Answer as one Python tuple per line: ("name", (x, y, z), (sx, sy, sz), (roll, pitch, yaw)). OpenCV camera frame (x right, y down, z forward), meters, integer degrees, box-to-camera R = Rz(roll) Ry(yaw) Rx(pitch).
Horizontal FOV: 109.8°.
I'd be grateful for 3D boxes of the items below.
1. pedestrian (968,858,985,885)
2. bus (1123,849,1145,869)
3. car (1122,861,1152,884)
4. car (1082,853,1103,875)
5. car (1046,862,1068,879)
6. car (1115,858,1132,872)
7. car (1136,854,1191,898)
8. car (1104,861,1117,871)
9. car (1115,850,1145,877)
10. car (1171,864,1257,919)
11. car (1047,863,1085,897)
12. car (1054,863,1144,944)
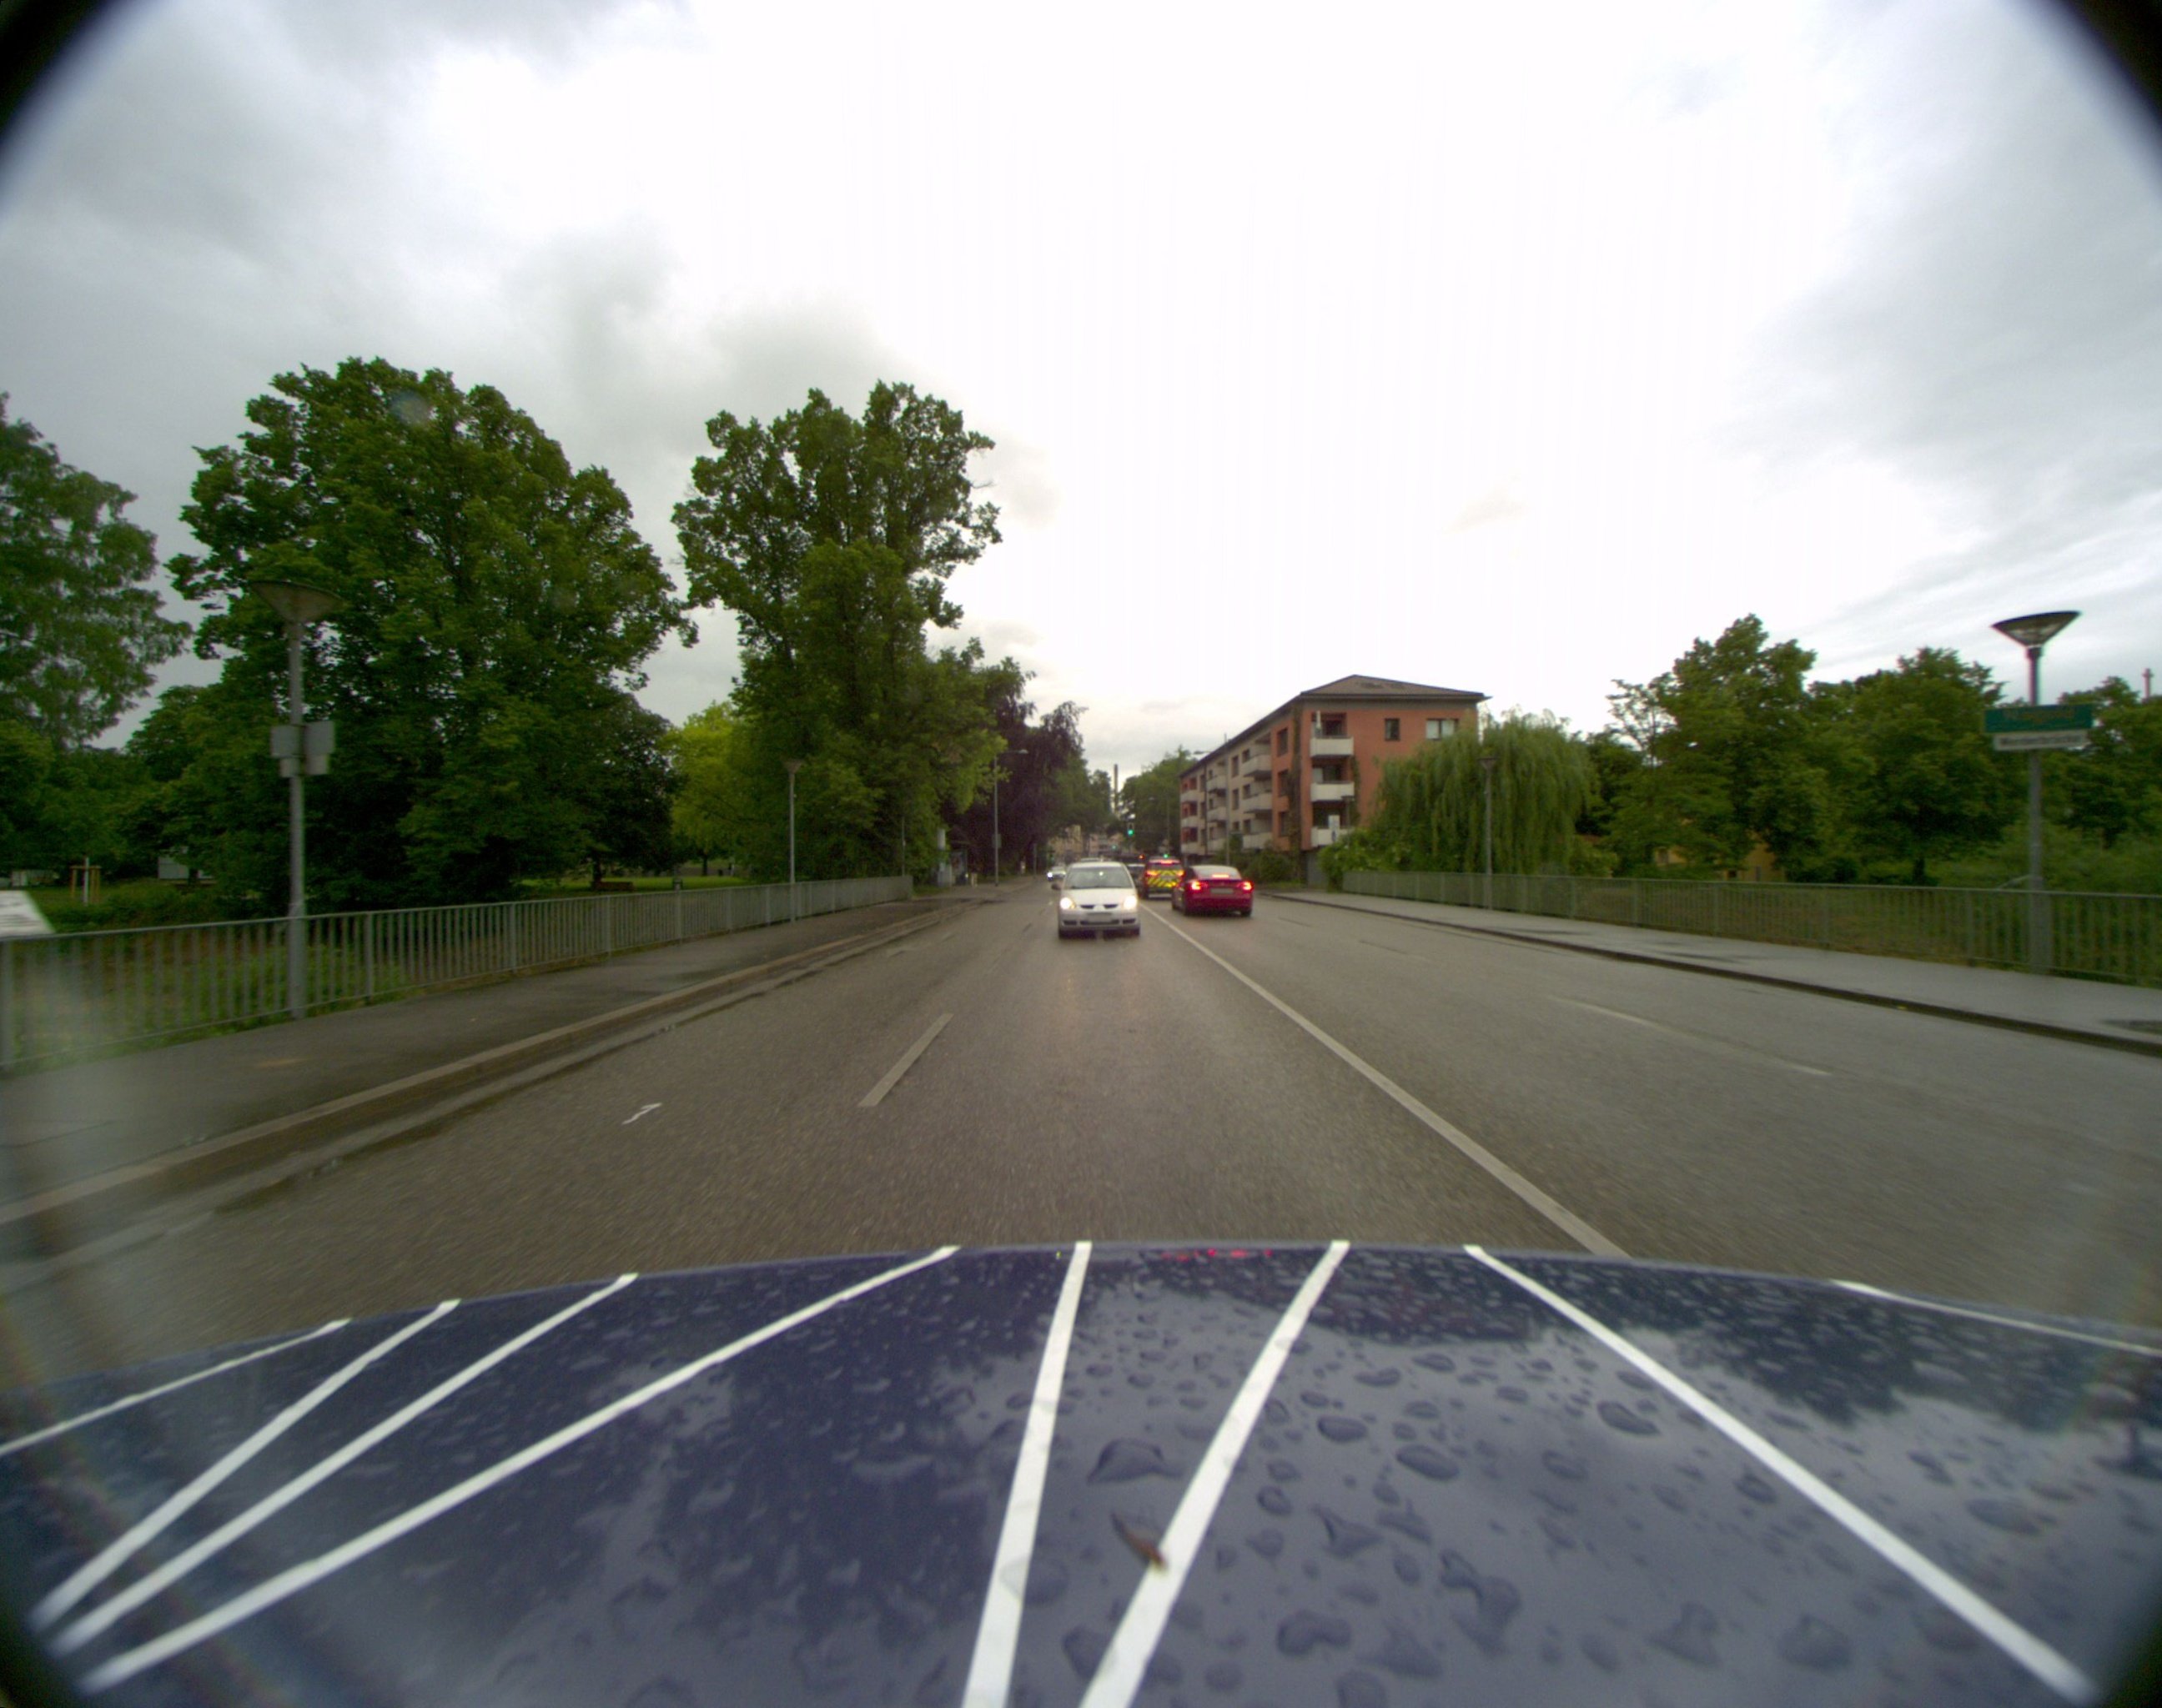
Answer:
("pedestrian", (-6.527, 1.089, 47.369), (0.850, 1.666, 1.167), (1, 1, 0))
("bus", (8.162, 0.710, 119.133), (2.700, 2.923, 12.084), (0, 0, 0))
("car", (3.682, 1.202, 50.318), (1.750, 1.431, 4.000), (0, 0, 1))
("car", (1.213, 0.951, 77.071), (2.037, 2.119, 4.000), (-1, 1, 1))
("car", (-2.284, 1.589, 73.977), (1.906, 1.537, 4.000), (-1, 0, 1))
("car", (4.794, 1.264, 86.111), (1.786, 1.465, 4.167), (0, -1, 0))
("car", (3.394, 0.883, 32.072), (1.893, 1.724, 4.371), (0, 0, 1))
("car", (4.375, 1.778, 112.879), (1.818, 1.569, 4.232), (0, -1, -1))
("car", (4.421, 0.850, 69.366), (2.295, 2.295, 6.509), (0, -1, 0))
("car", (3.726, 1.015, 21.966), (1.786, 1.394, 4.219), (0, 0, 1))
("car", (-0.686, 1.211, 36.933), (1.718, 1.508, 4.088), (-1, 0, 0))
("car", (0.364, 0.990, 17.188), (1.718, 1.508, 4.807), (-1, 0, 0))
